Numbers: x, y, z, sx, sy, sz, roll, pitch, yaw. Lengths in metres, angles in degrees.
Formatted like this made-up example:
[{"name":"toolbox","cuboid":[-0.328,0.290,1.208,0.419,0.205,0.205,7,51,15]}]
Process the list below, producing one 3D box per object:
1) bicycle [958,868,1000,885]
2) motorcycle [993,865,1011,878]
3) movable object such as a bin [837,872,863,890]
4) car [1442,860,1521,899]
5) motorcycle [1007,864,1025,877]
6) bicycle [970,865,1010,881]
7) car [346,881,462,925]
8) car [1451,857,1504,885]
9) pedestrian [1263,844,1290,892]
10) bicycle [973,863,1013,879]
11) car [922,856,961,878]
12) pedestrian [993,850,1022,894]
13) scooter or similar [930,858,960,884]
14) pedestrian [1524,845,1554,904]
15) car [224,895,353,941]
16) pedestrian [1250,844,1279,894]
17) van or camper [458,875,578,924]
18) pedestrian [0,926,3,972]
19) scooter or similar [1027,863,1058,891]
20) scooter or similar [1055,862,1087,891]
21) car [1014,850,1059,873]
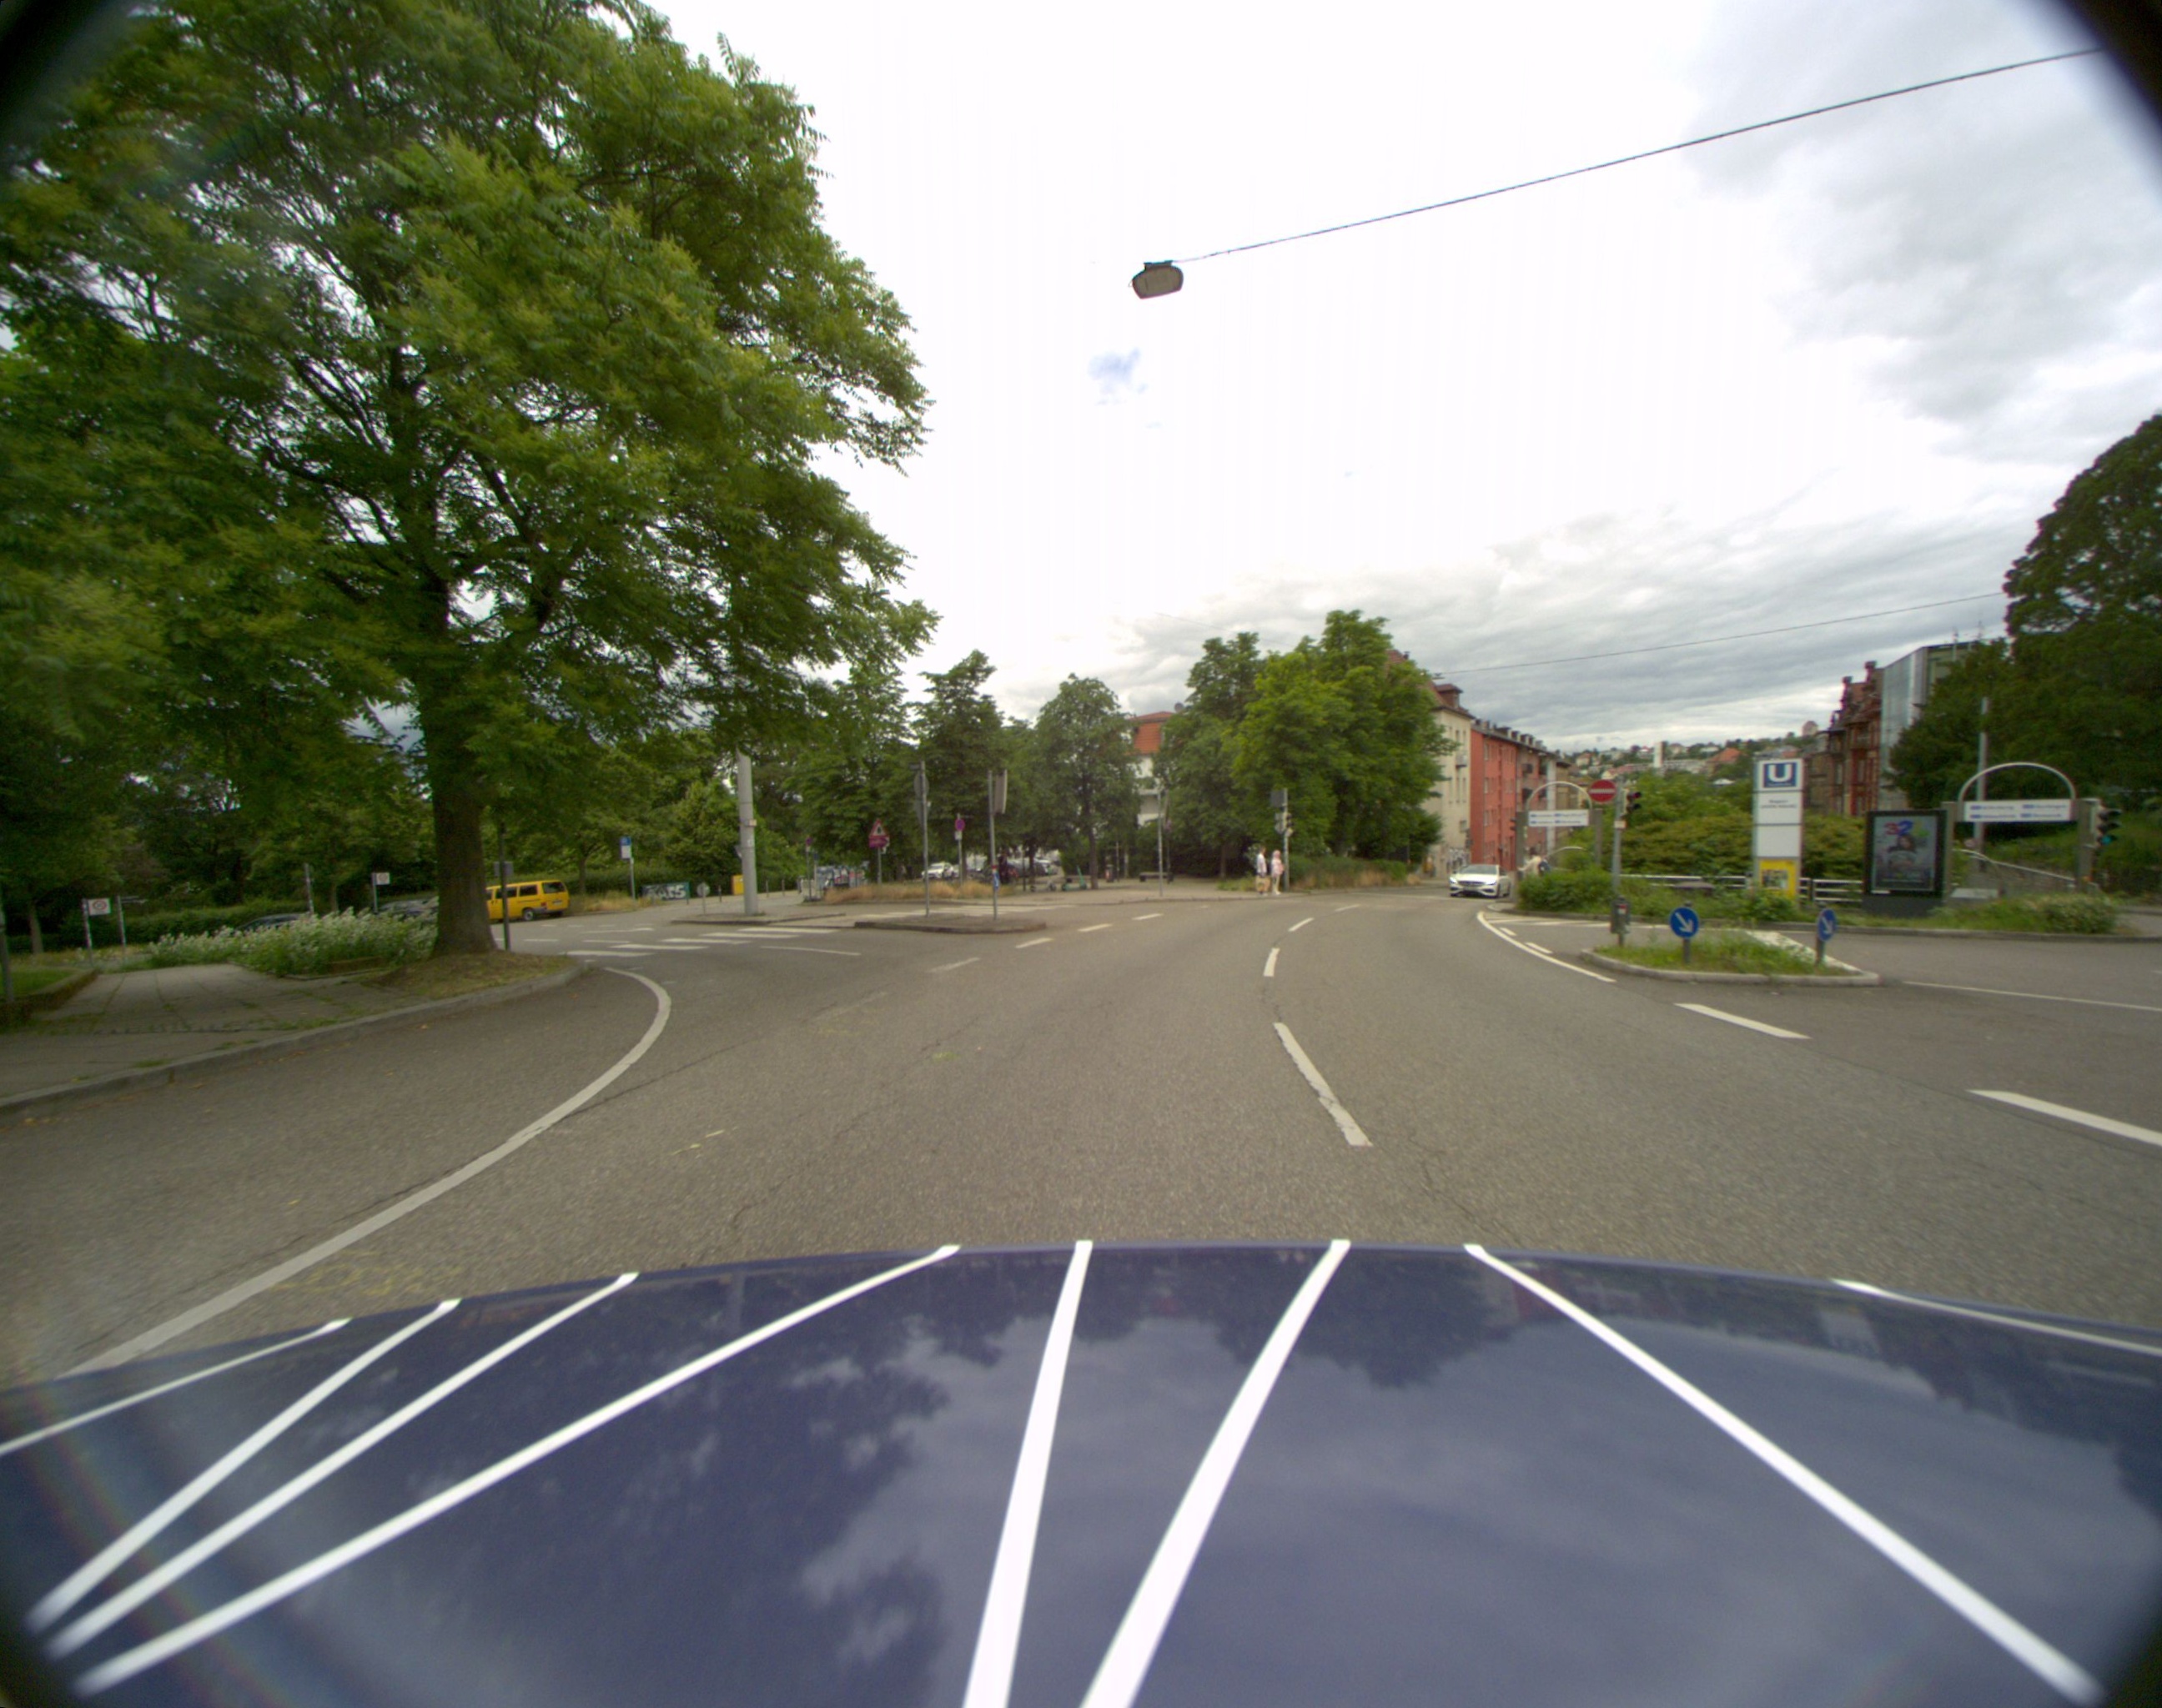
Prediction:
[{"name":"bicycle","cuboid":[-7.524,1.656,56.052,2.960,1.139,0.921,-1,0,-37]},{"name":"motorcycle","cuboid":[-6.663,1.506,64.368,0.754,1.027,2.058,0,0,18]},{"name":"movable object such as a bin","cuboid":[-15.827,1.846,52.025,1.317,1.159,1.059,-1,0,-44]},{"name":"car","cuboid":[16.907,1.012,31.981,1.993,1.390,4.239,3,2,40]},{"name":"motorcycle","cuboid":[-5.483,1.406,63.942,0.754,1.027,2.058,0,0,18]},{"name":"bicycle","cuboid":[-6.911,1.464,58.021,2.960,1.139,0.921,-1,0,-37]},{"name":"car","cuboid":[-33.548,2.407,37.706,3.996,2.002,2.000,-1,0,3]},{"name":"car","cuboid":[22.477,0.940,43.015,1.994,1.479,4.239,-1,-1,37]},{"name":"pedestrian","cuboid":[7.121,0.495,27.715,0.614,1.703,0.729,4,3,42]},{"name":"bicycle","cuboid":[-6.866,1.311,59.399,2.960,1.139,0.921,-1,0,-37]},{"name":"car","cuboid":[-12.784,1.126,69.966,1.997,1.892,4.718,-1,0,10]},{"name":"pedestrian","cuboid":[-3.175,0.759,32.783,0.858,1.875,0.962,-2,1,-34]},{"name":"scooter or similar","cuboid":[-6.683,0.827,37.332,1.322,1.241,0.463,-2,1,-30]},{"name":"pedestrian","cuboid":[14.861,0.659,24.632,0.705,1.850,0.615,0,0,45]},{"name":"car","cuboid":[-39.092,3.149,37.589,4.000,2.002,1.998,-1,0,-8]},{"name":"pedestrian","cuboid":[6.360,0.515,26.341,0.614,1.703,0.729,4,3,42]},{"name":"van or camper","cuboid":[-27.618,2.206,37.348,4.466,1.966,1.890,-4,2,5]},{"name":"pedestrian","cuboid":[-38.898,3.389,26.889,0.667,1.639,0.671,-1,1,22]},{"name":"scooter or similar","cuboid":[-1.723,1.037,34.072,1.245,1.219,0.501,-2,0,17]},{"name":"scooter or similar","cuboid":[-0.445,0.964,33.060,1.245,1.219,0.501,-2,0,17]},{"name":"car","cuboid":[-3.984,0.673,68.823,3.783,2.002,2.001,-1,0,4]}]
